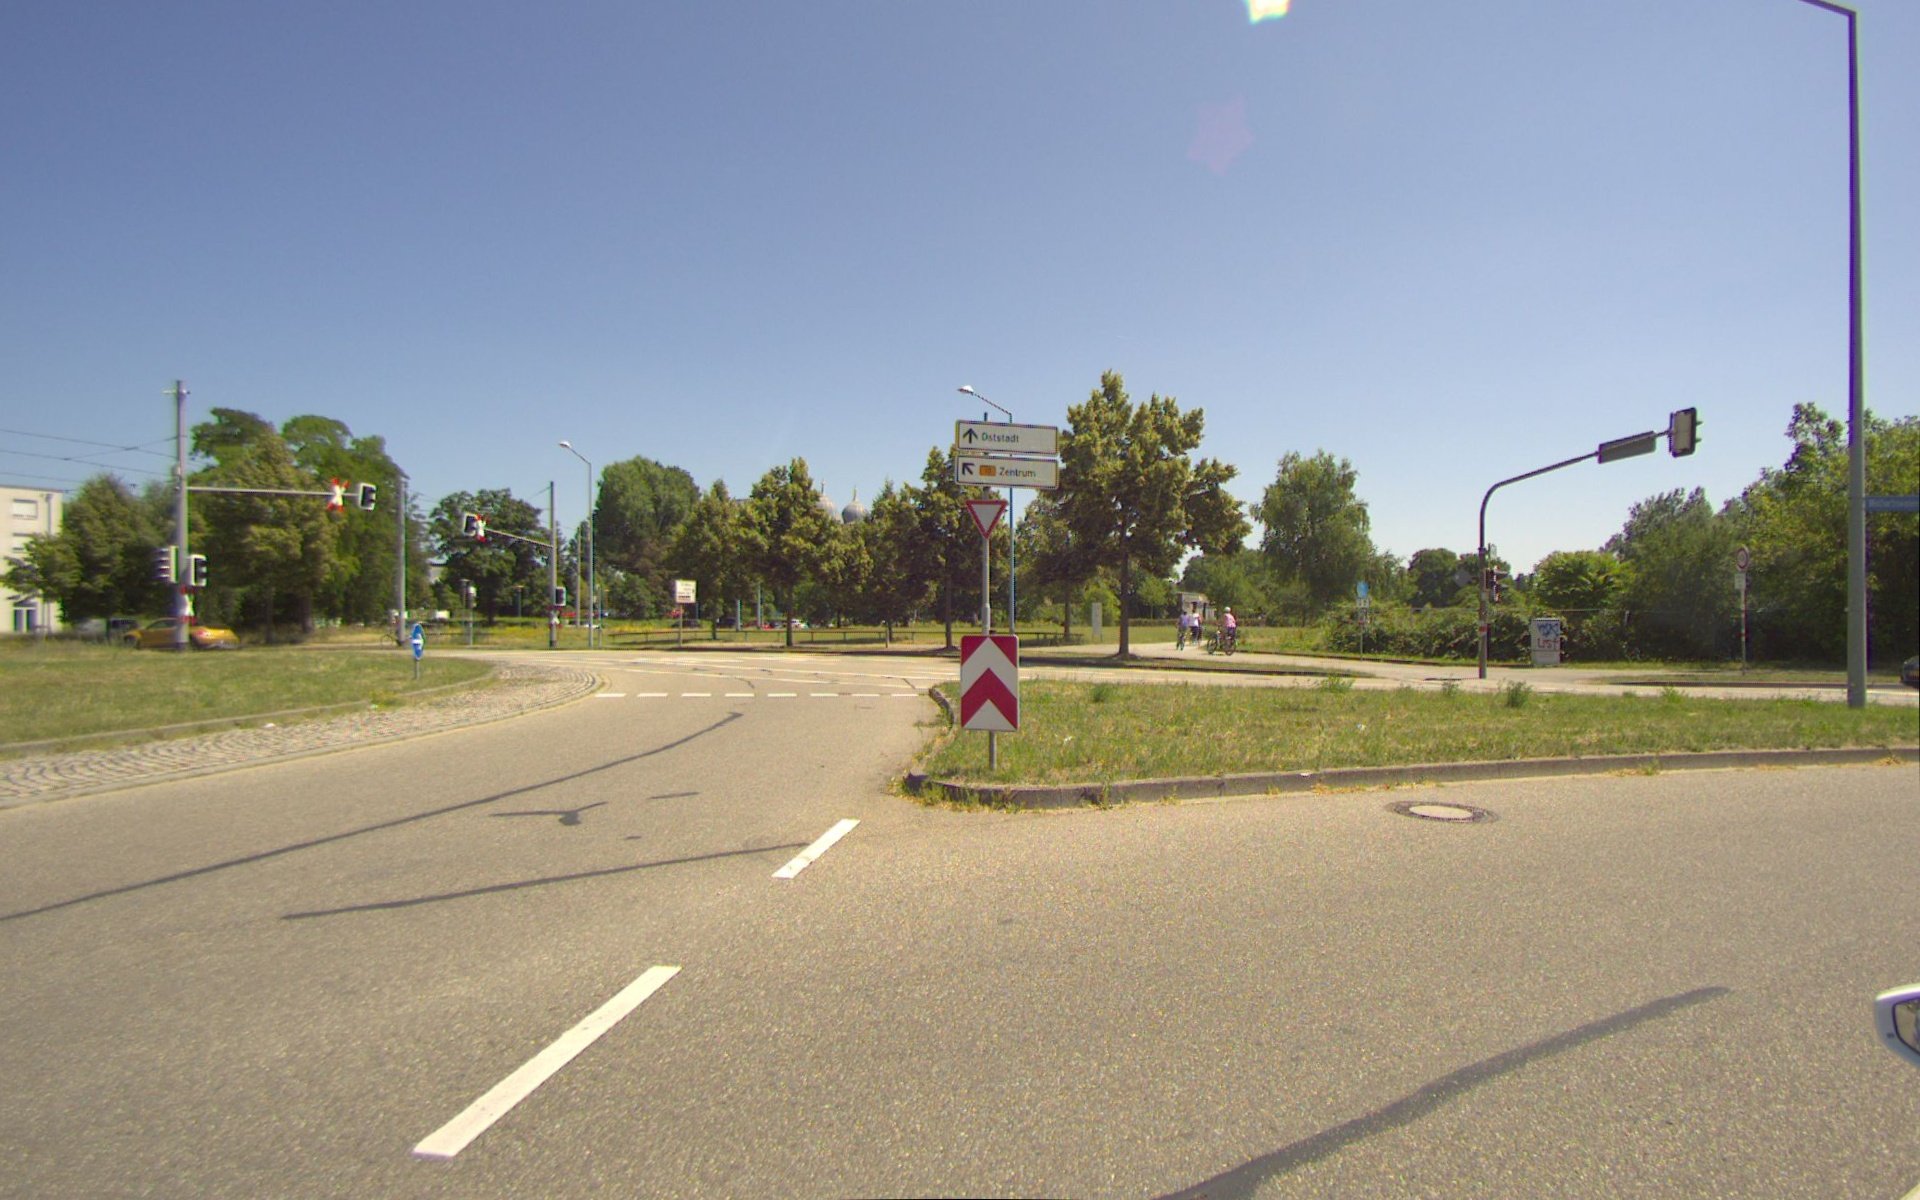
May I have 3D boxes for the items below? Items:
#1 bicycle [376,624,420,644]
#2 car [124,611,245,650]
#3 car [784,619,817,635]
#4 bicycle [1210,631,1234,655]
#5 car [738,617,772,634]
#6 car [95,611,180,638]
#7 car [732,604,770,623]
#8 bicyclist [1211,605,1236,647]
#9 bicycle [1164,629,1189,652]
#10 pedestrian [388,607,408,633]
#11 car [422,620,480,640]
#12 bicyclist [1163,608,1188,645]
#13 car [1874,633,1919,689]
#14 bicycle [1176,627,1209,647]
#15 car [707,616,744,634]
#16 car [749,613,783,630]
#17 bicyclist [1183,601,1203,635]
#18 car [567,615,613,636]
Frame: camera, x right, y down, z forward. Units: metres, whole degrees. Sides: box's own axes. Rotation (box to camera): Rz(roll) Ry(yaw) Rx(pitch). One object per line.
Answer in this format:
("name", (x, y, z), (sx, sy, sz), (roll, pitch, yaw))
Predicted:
("bicycle", (-32.352, 1.961, 57.852), (2.024, 1.129, 0.727), (1, -2, -15))
("car", (-30.353, 1.195, 39.334), (3.587, 1.421, 1.833), (0, -1, 12))
("car", (-21.001, 3.575, 132.517), (3.919, 2.040, 2.001), (0, -2, 4))
("bicycle", (10.453, 1.692, 40.103), (0.880, 0.912, 2.228), (1, -2, 13))
("car", (-25.472, 3.211, 124.989), (3.923, 2.040, 2.000), (1, -2, -4))
("car", (-55.194, 1.671, 67.467), (1.967, 1.706, 3.988), (-1, -3, 35))
("car", (-23.631, 1.570, 113.476), (3.923, 2.040, 2.000), (1, -2, -4))
("bicyclist", (10.500, 1.036, 40.018), (0.940, 1.631, 1.187), (0, -2, 13))
("bicycle", (9.478, 1.764, 43.958), (0.881, 0.912, 1.762), (1, 1, 19))
("pedestrian", (-32.370, 1.151, 57.849), (0.804, 1.469, 0.708), (1, -2, -14))
("car", (-43.702, 2.596, 86.306), (3.925, 1.594, 1.998), (1, -2, -7))
("bicyclist", (9.450, 1.144, 43.952), (0.941, 1.552, 1.186), (0, 0, 18))
("car", (24.567, 1.446, 23.715), (4.321, 1.287, 1.865), (0, -1, 0))
("bicycle", (11.458, 1.841, 49.397), (0.728, 0.924, 2.924), (-1, -3, 30))
("car", (-27.944, 2.962, 119.760), (3.923, 2.040, 2.000), (1, -2, -4))
("car", (-24.647, 2.783, 127.586), (3.923, 2.040, 2.000), (1, -2, -4))
("bicyclist", (11.481, 0.896, 49.420), (0.742, 1.635, 0.977), (-1, -2, 29))
("car", (-37.298, 2.586, 101.338), (3.923, 2.040, 2.000), (1, -2, -4))
